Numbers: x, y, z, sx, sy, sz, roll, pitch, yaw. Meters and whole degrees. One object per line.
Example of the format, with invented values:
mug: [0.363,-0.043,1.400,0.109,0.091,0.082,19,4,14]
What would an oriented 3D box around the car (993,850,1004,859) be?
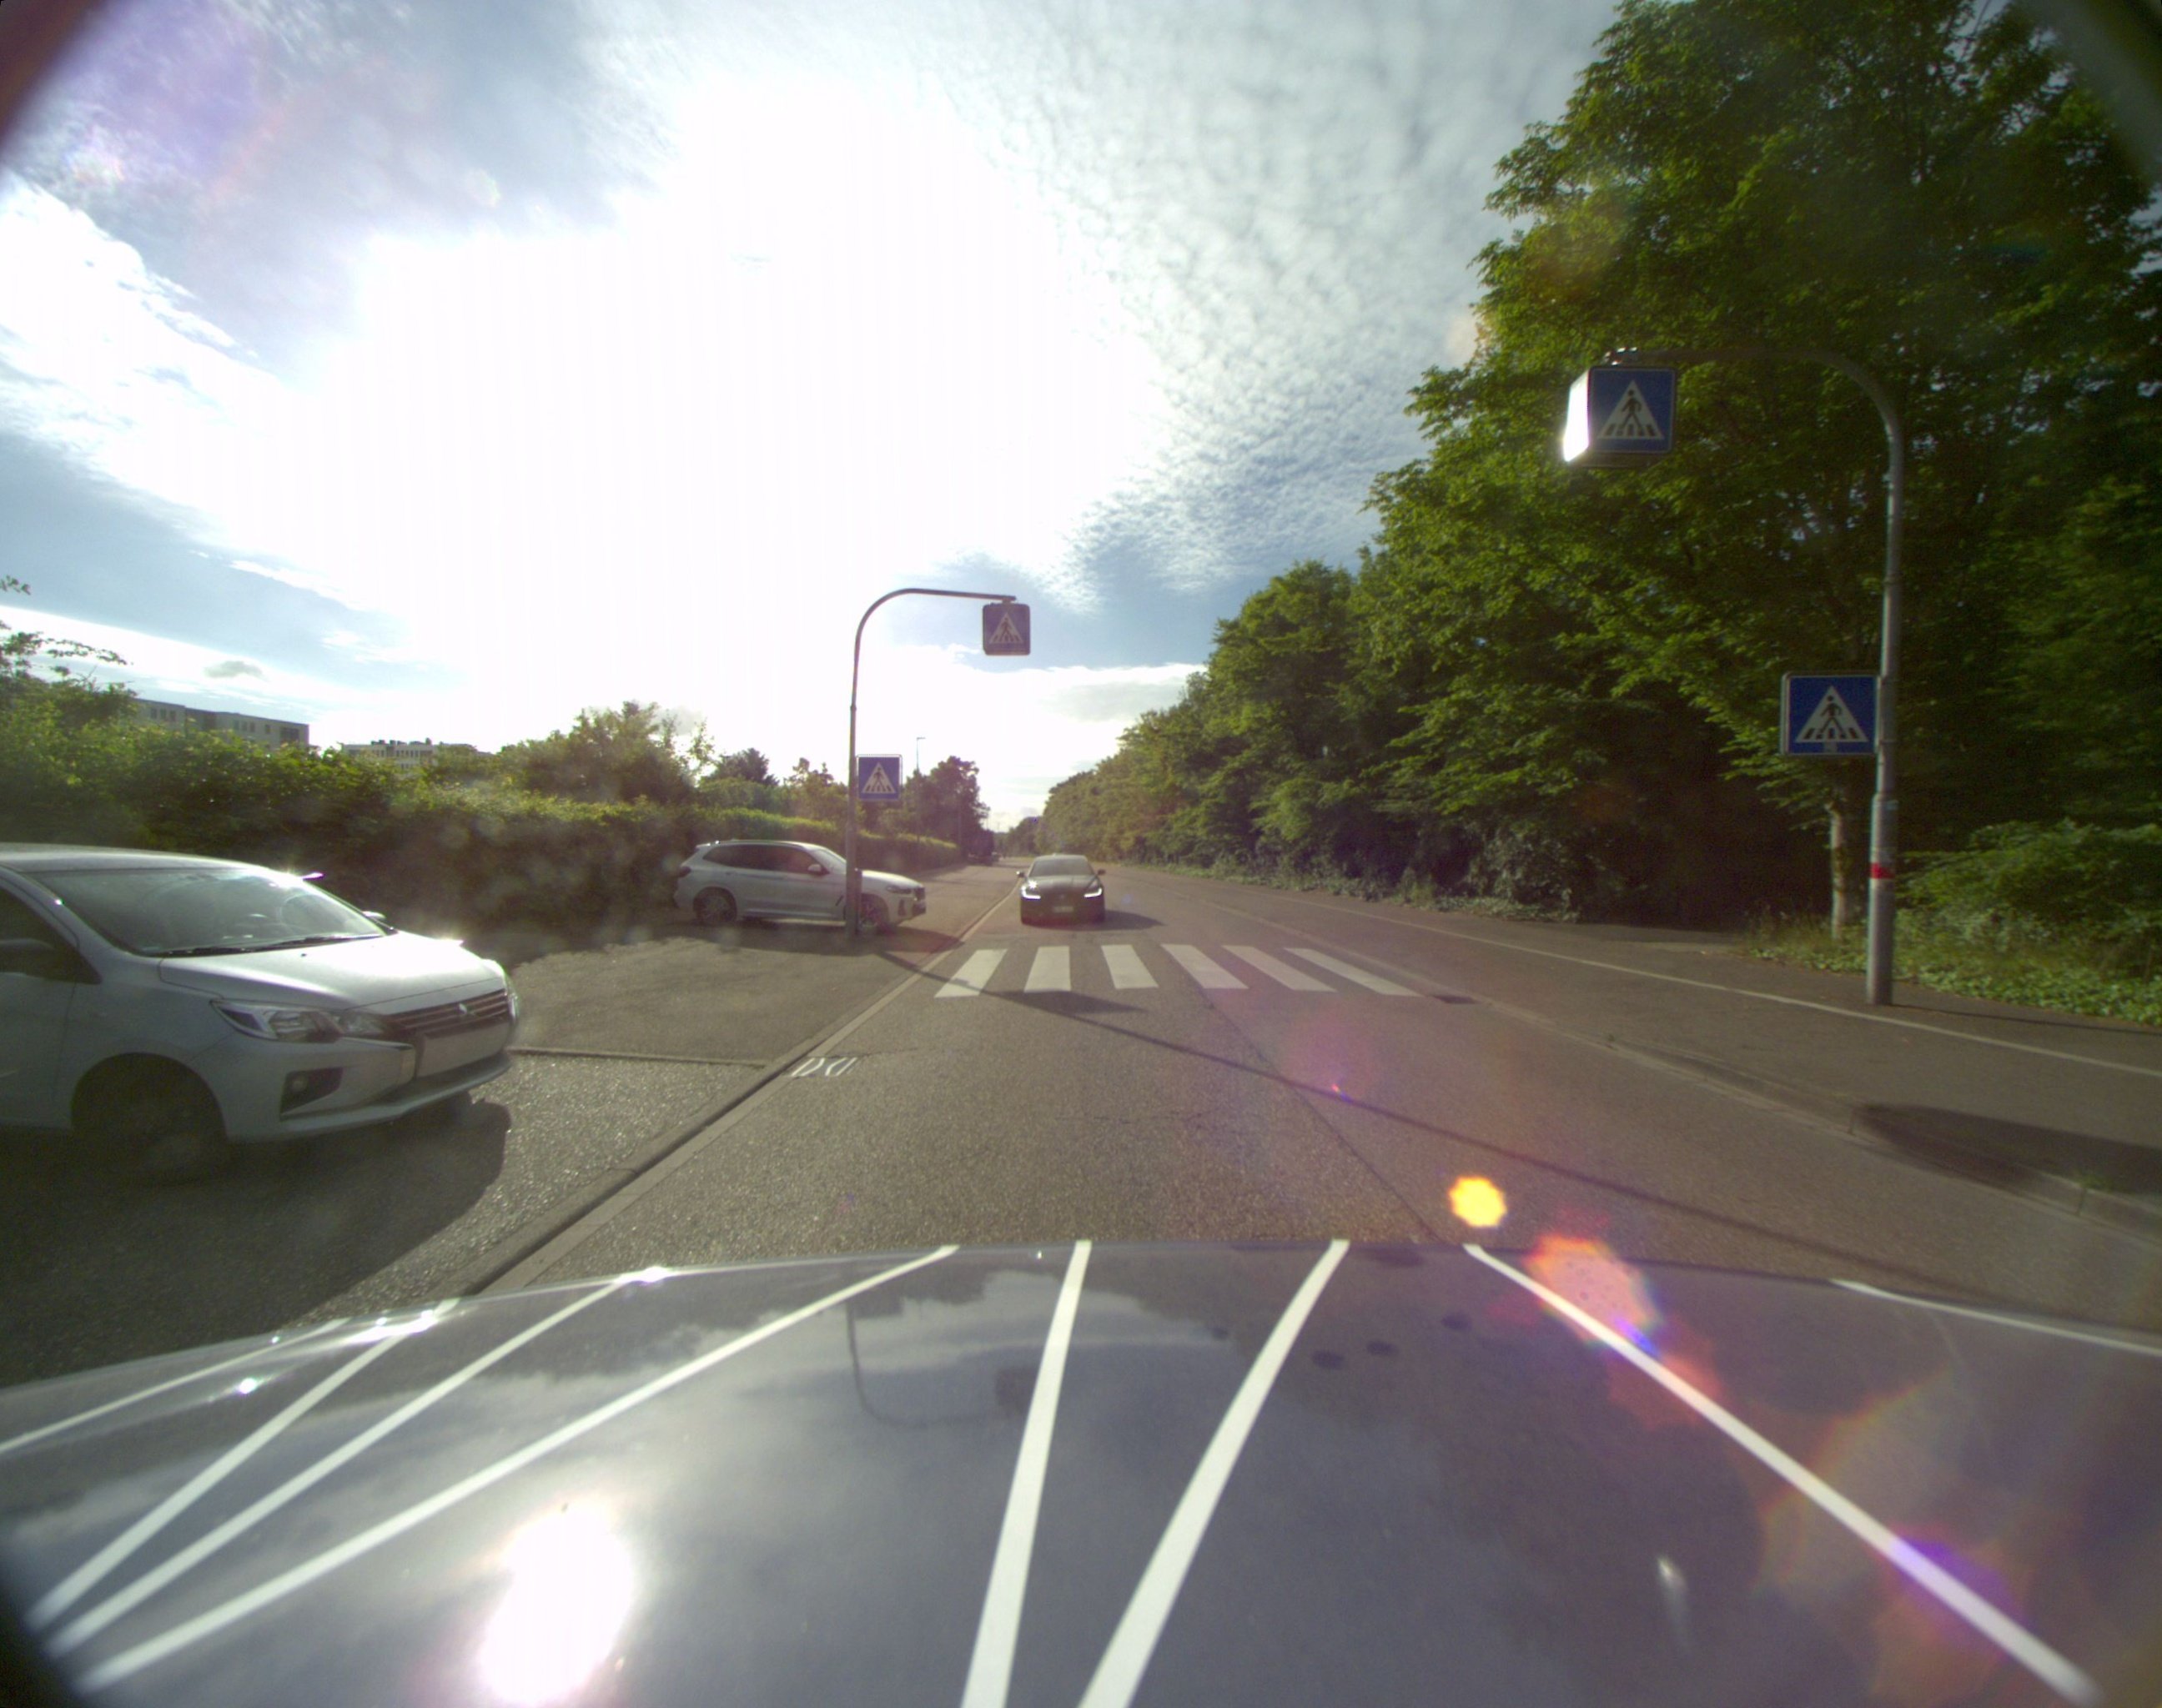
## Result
car: [-14.169,0.066,130.742,1.752,1.561,3.858,2,0,-7]

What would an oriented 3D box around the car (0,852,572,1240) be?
car: [-5.343,0.846,4.187,3.867,1.481,1.692,3,1,0]

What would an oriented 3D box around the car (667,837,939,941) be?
car: [-5.291,0.642,14.884,4.599,1.690,1.763,3,1,0]

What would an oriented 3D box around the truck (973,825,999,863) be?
truck: [-10.638,-1.078,84.701,2.604,3.935,6.278,4,0,-8]

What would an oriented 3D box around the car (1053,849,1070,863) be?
car: [-2.387,0.183,91.266,1.807,1.576,4.099,1,1,-4]

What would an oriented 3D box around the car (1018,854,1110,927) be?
car: [-0.395,0.776,18.346,1.936,1.501,4.679,0,0,-1]
